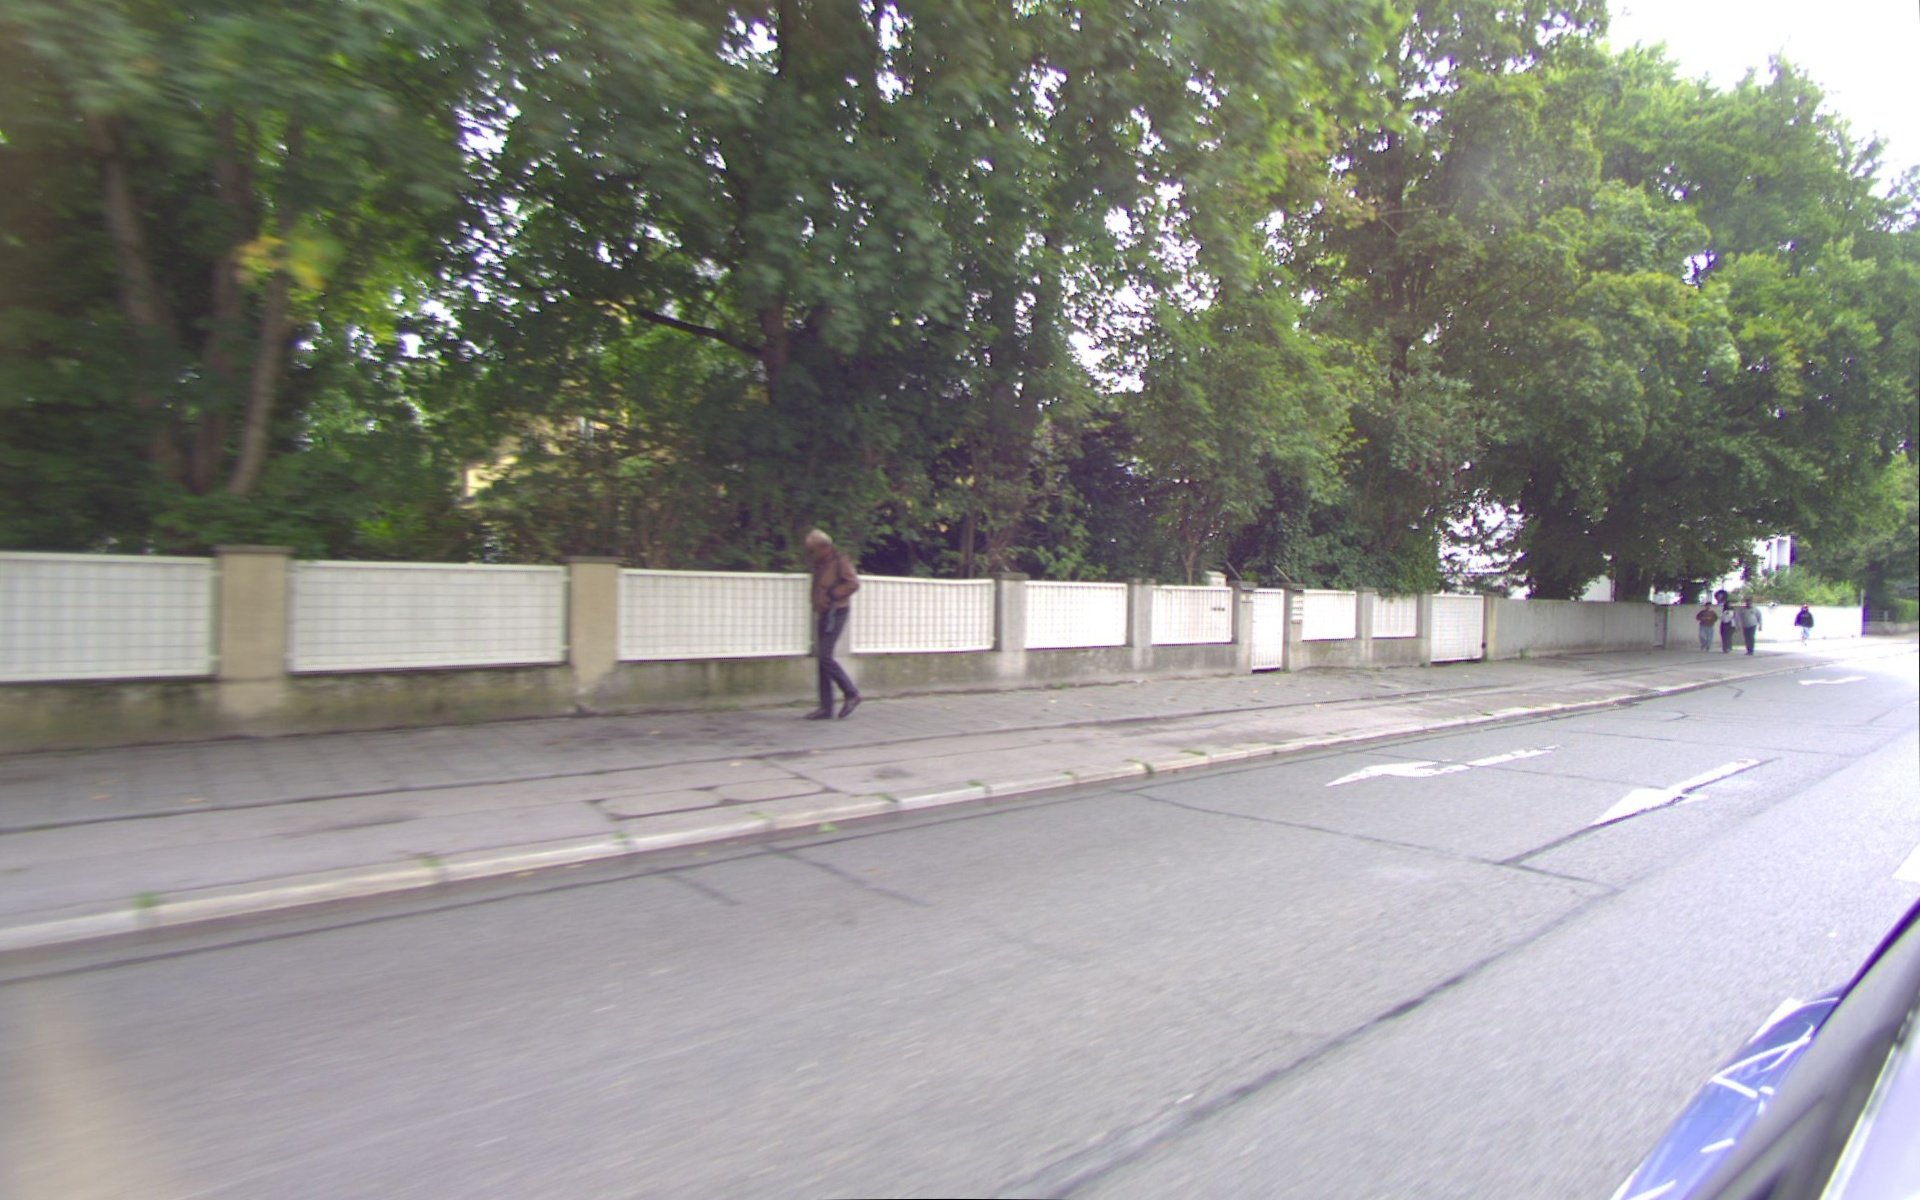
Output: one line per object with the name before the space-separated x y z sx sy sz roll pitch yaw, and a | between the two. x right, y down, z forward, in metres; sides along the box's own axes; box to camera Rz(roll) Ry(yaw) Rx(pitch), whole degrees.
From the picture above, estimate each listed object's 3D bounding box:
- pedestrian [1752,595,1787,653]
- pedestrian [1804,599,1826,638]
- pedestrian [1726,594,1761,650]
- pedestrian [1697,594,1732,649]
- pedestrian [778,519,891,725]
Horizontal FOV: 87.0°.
pedestrian | 25.165 0.746 31.458 0.716 1.743 0.667 1 2 -41
pedestrian | 35.878 0.774 42.475 0.716 1.600 0.529 1 2 -41
pedestrian | 24.742 0.682 31.974 0.716 1.713 0.667 1 2 -41
pedestrian | 24.212 0.683 32.482 0.753 1.726 0.667 1 2 -41
pedestrian | -1.270 0.194 10.209 0.788 1.966 0.779 1 2 -40
